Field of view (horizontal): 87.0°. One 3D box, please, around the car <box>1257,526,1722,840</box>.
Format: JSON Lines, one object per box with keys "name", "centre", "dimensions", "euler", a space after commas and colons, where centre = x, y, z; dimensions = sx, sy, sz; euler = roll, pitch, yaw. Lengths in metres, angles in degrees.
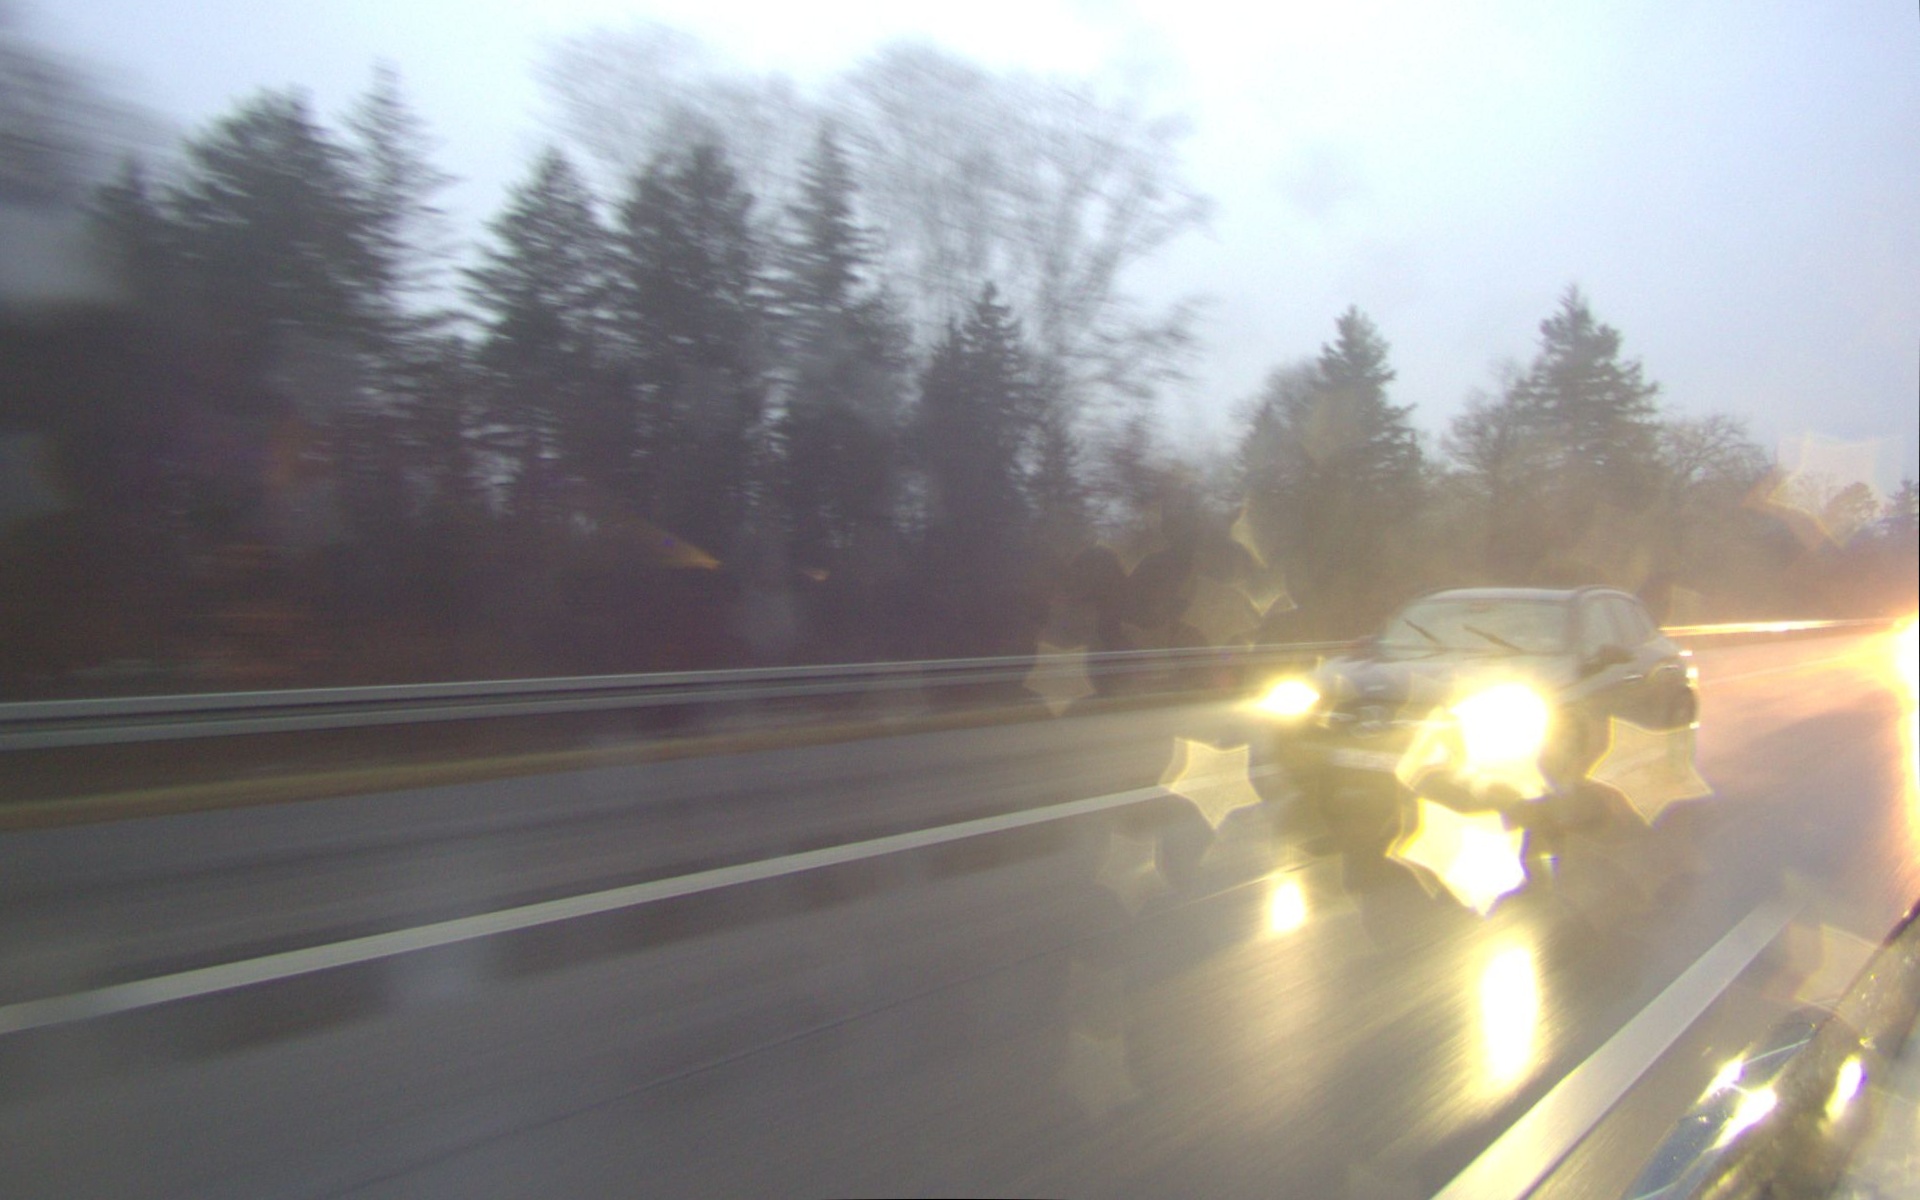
{"name": "car", "centre": [4.230, 0.458, 7.851], "dimensions": [3.872, 1.814, 1.928], "euler": [-1, 1, -41]}
